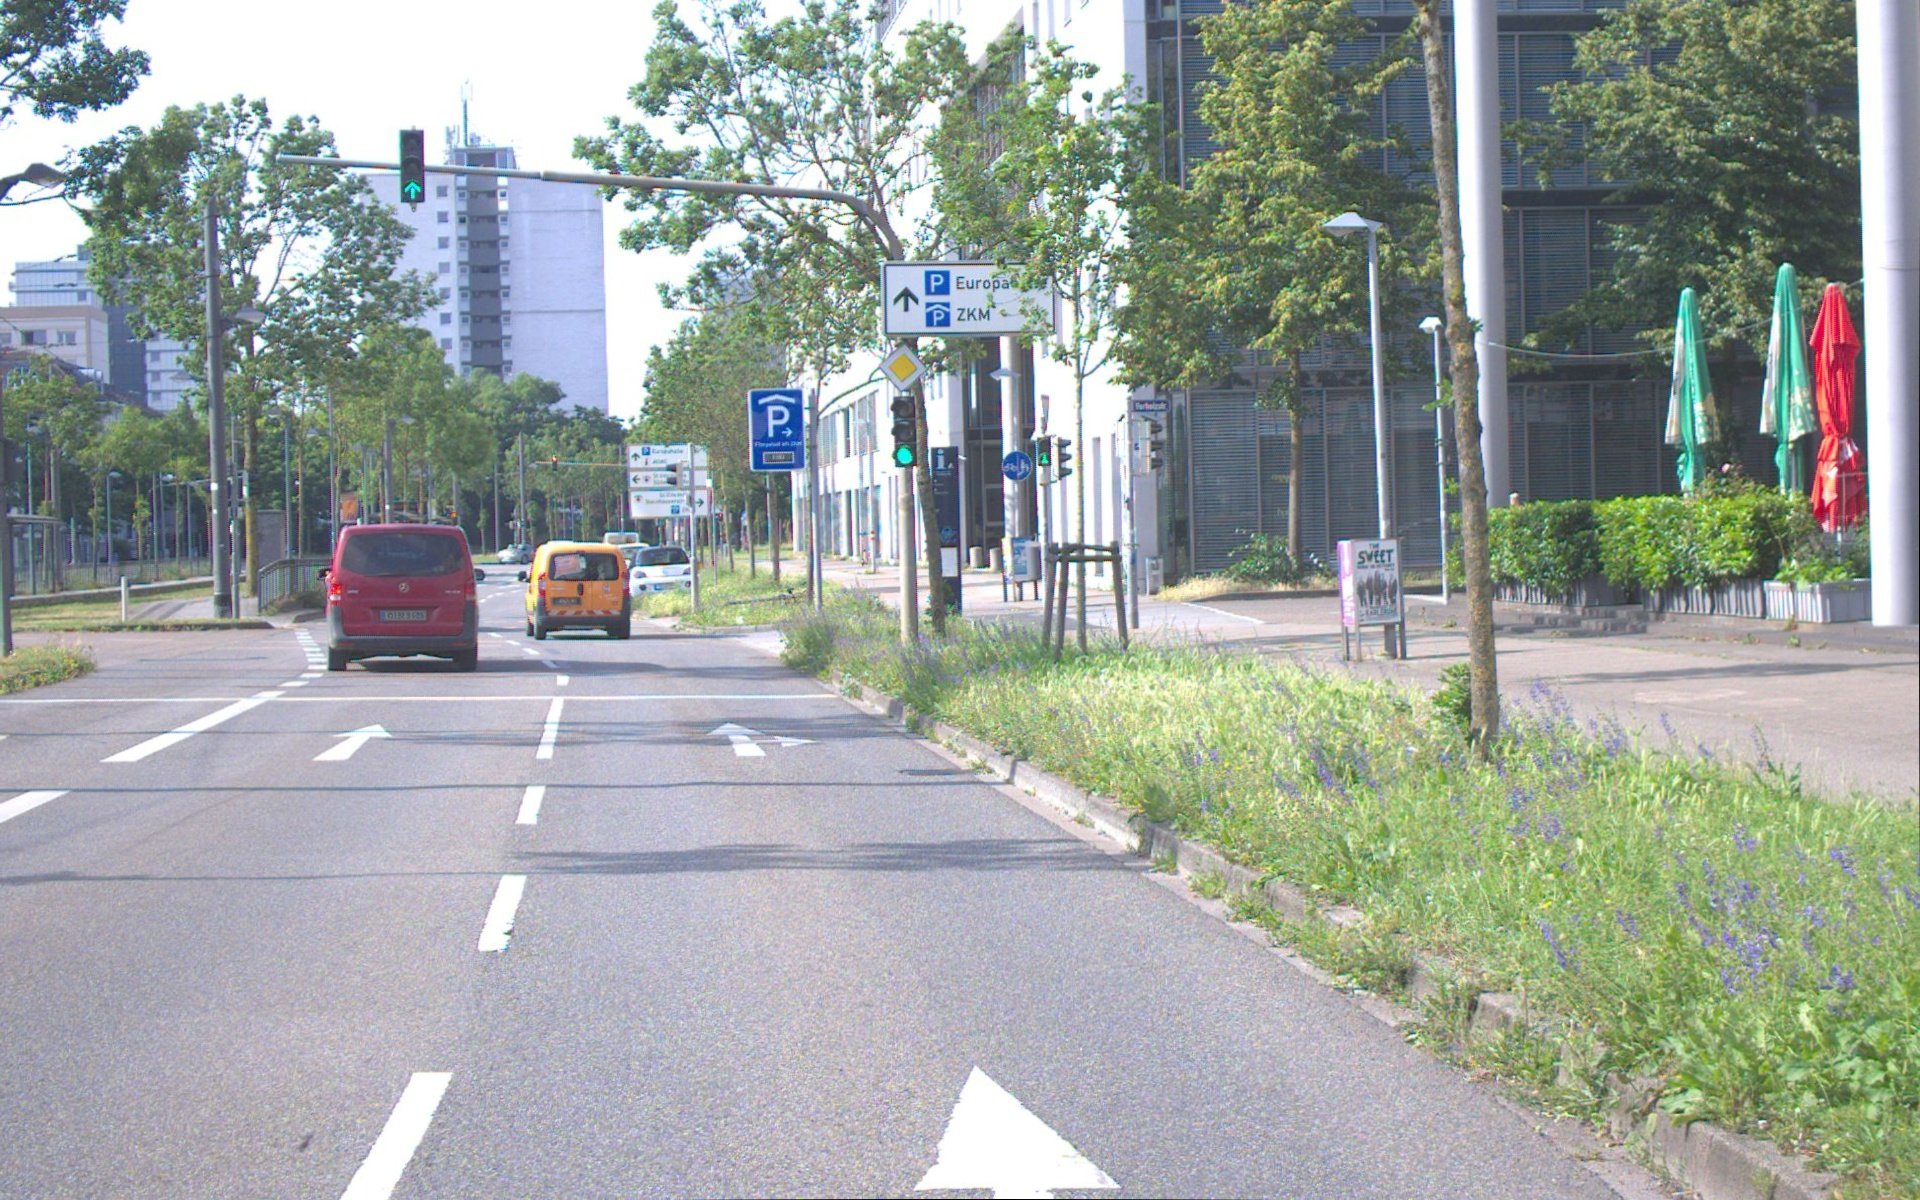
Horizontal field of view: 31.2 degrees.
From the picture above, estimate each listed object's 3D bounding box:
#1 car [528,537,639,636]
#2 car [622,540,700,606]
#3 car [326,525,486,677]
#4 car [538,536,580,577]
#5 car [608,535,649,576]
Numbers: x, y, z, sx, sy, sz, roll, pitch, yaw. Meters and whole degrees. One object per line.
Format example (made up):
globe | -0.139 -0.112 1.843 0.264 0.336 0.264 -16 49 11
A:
car | -6.703 -0.268 61.521 1.875 1.690 3.974 -1 1 -5
car | -7.208 -0.664 82.526 1.720 1.514 3.782 -1 1 -7
car | -7.112 -0.021 44.445 1.874 1.847 4.001 -1 1 -7
car | -19.930 -2.152 170.832 1.993 2.007 4.001 -1 1 -7
car | -16.617 -2.215 172.161 1.993 2.007 4.001 -1 1 -6
